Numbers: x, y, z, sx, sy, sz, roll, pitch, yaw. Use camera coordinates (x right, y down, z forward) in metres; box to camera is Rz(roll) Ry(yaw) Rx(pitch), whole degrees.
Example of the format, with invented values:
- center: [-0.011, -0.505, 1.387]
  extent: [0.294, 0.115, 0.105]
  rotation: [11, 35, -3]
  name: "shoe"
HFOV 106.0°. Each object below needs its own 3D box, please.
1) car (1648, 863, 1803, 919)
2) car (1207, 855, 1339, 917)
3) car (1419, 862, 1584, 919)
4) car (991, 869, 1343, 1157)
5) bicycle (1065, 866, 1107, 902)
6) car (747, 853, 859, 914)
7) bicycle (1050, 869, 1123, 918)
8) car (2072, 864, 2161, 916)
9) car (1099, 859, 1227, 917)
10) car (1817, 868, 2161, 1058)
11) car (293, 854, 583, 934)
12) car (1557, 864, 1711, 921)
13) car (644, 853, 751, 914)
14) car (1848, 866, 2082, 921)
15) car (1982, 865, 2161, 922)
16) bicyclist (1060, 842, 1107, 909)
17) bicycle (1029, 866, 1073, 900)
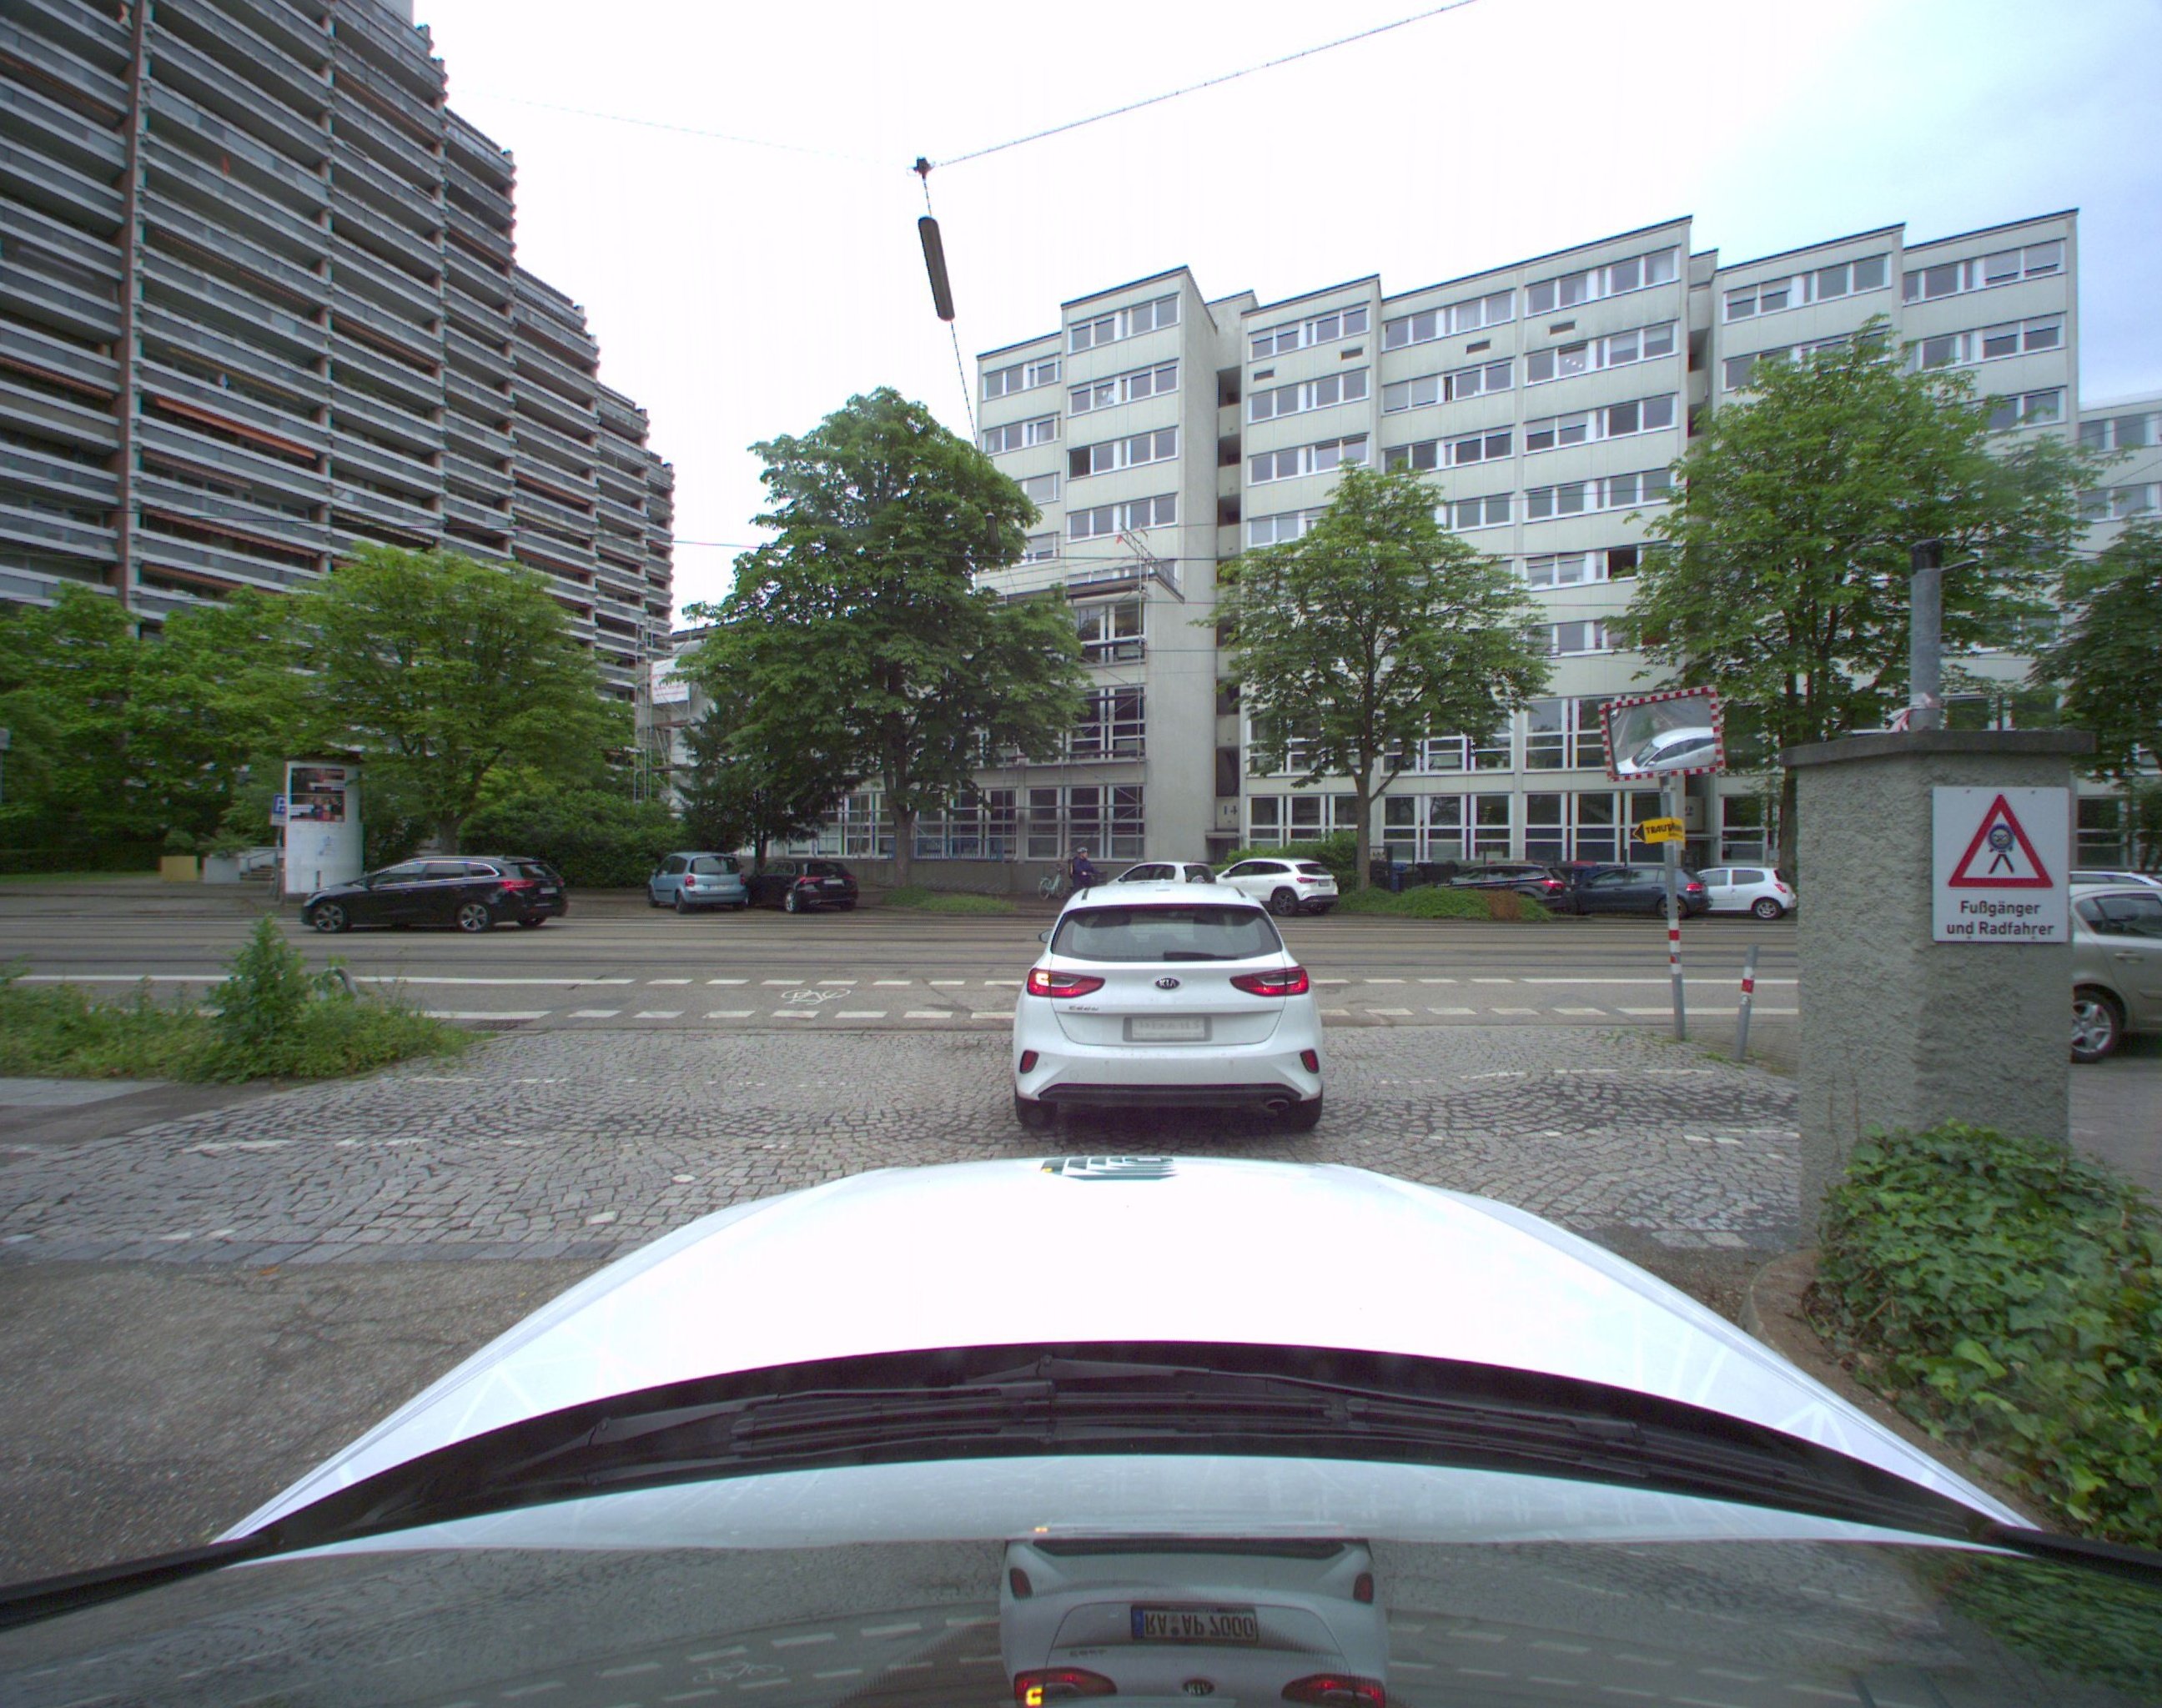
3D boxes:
- center: [18.500, 1.013, 23.455]
  extent: [1.425, 1.474, 3.348]
  rotation: [0, -1, -44]
  name: "car"
- center: [5.379, 0.848, 23.069]
  extent: [1.565, 1.618, 3.367]
  rotation: [0, -1, -42]
  name: "car"
- center: [12.003, 0.983, 23.394]
  extent: [3.904, 1.474, 1.684]
  rotation: [-1, -1, 42]
  name: "car"
- center: [0.597, 0.853, 6.128]
  extent: [1.767, 1.433, 3.984]
  rotation: [-1, -2, 5]
  name: "car"
- center: [0.190, 1.032, 28.603]
  extent: [0.638, 1.074, 2.325]
  rotation: [0, 2, 22]
  name: "bicycle"
- center: [-7.621, 0.759, 22.202]
  extent: [1.628, 1.511, 3.295]
  rotation: [0, -1, -45]
  name: "car"
- center: [0.123, 1.000, 21.124]
  extent: [0.826, 1.174, 1.892]
  rotation: [1, 0, -43]
  name: "bicycle"
- center: [31.516, 1.049, 23.645]
  extent: [1.425, 1.474, 3.348]
  rotation: [0, 0, -44]
  name: "car"
- center: [2.222, 0.900, 22.649]
  extent: [1.565, 1.473, 3.367]
  rotation: [0, -1, -42]
  name: "car"
- center: [9.223, 0.904, 7.417]
  extent: [3.570, 1.501, 1.665]
  rotation: [0, 0, 0]
  name: "car"
- center: [-12.647, 0.754, 16.253]
  extent: [4.231, 1.490, 1.821]
  rotation: [0, 0, -3]
  name: "car"
- center: [15.443, 1.016, 22.834]
  extent: [1.425, 1.474, 3.348]
  rotation: [0, -1, -44]
  name: "car"
- center: [-10.507, 0.745, 22.210]
  extent: [1.628, 1.537, 3.296]
  rotation: [0, 0, -45]
  name: "car"
- center: [25.249, 1.098, 23.528]
  extent: [4.441, 1.474, 1.425]
  rotation: [-1, -3, 42]
  name: "car"
- center: [28.530, 1.086, 23.494]
  extent: [1.425, 1.474, 3.348]
  rotation: [0, 0, -44]
  name: "car"
- center: [0.064, 0.536, 21.184]
  extent: [0.839, 1.698, 0.886]
  rotation: [1, -1, -43]
  name: "bicyclist"
- center: [-1.043, 1.005, 29.103]
  extent: [0.638, 1.074, 2.325]
  rotation: [0, 2, 22]
  name: "bicycle"
